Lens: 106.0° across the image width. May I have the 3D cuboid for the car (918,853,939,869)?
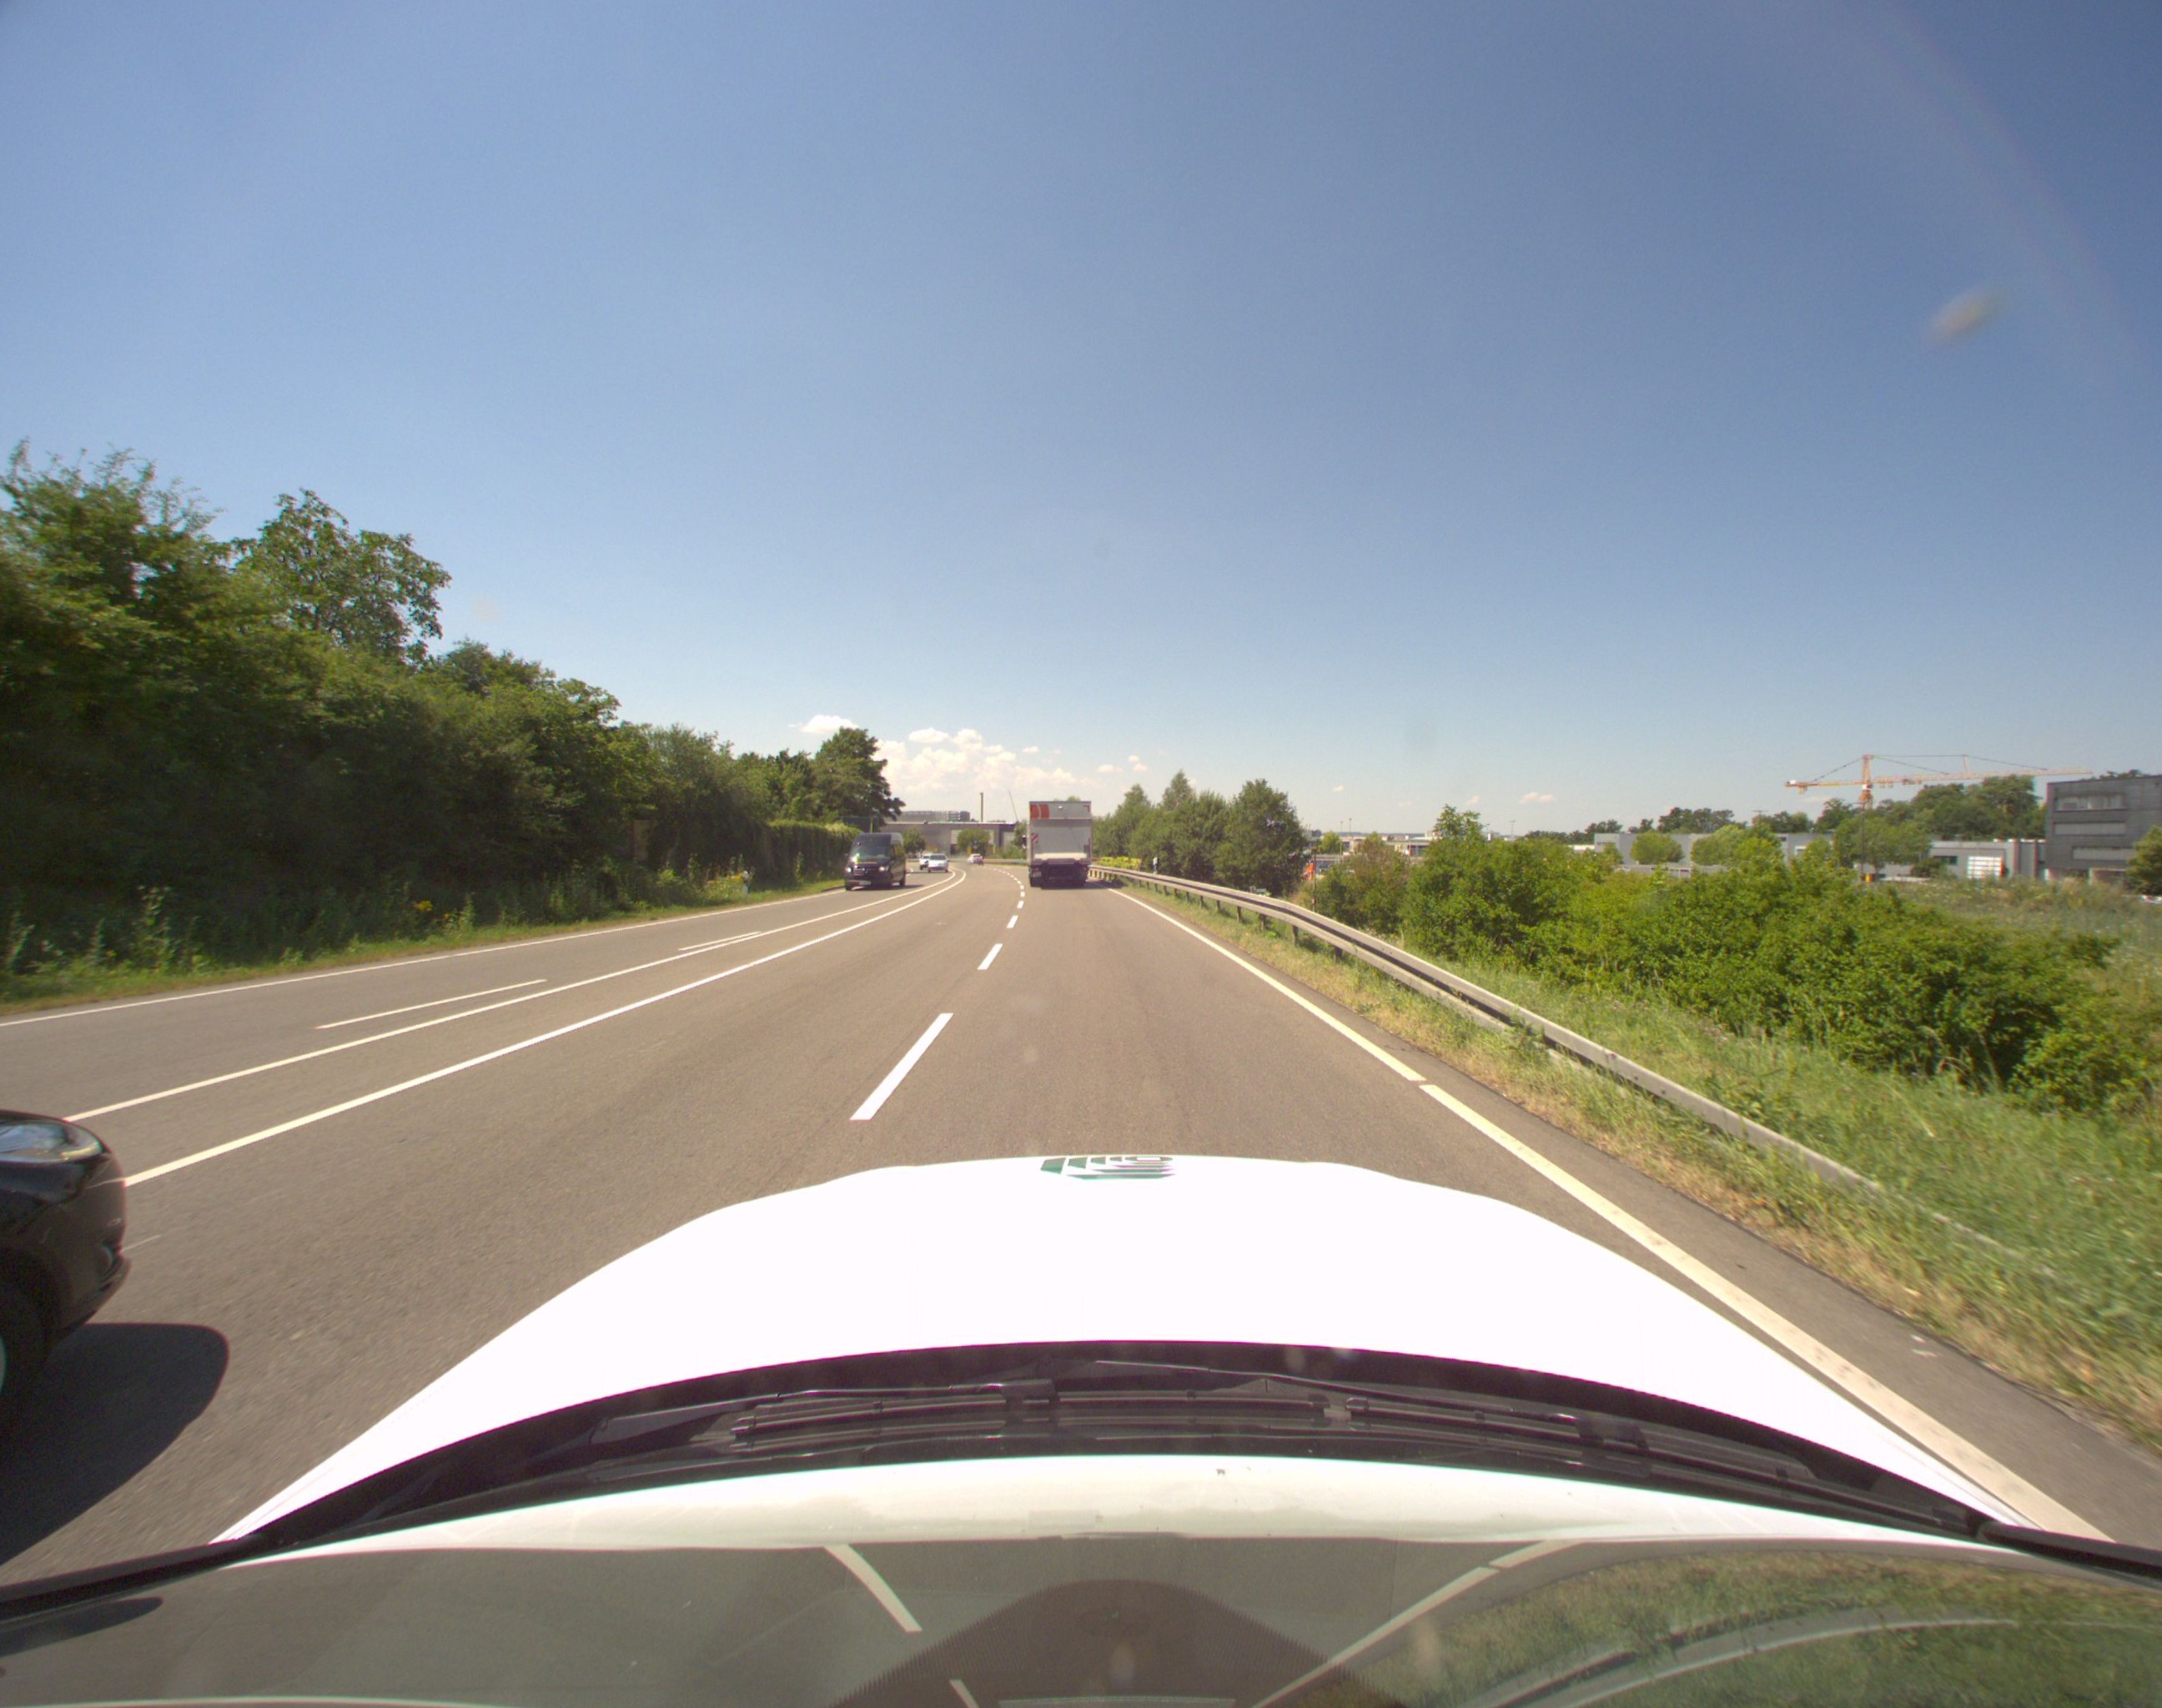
[{"bbox_3d":[-15.711,0.720,83.954,1.994,1.629,4.181,-1,0,-11],"label":"car"}]

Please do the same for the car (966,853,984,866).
[{"bbox_3d":[-14.313,0.727,109.926,1.947,1.664,3.980,2,-1,-14],"label":"car"}]

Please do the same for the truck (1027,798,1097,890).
[{"bbox_3d":[-1.020,-0.443,37.416,2.797,3.710,9.097,-1,0,-3],"label":"truck"}]

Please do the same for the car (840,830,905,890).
[{"bbox_3d":[-9.487,0.246,37.575,2.186,2.541,6.021,0,0,-8],"label":"car"}]

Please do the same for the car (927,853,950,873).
[{"bbox_3d":[-12.211,0.754,69.595,1.838,1.593,4.799,0,0,-11],"label":"car"}]

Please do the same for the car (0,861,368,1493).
[{"bbox_3d":[-3.448,0.811,0.835,1.647,1.493,4.209,0,1,1],"label":"car"}]
